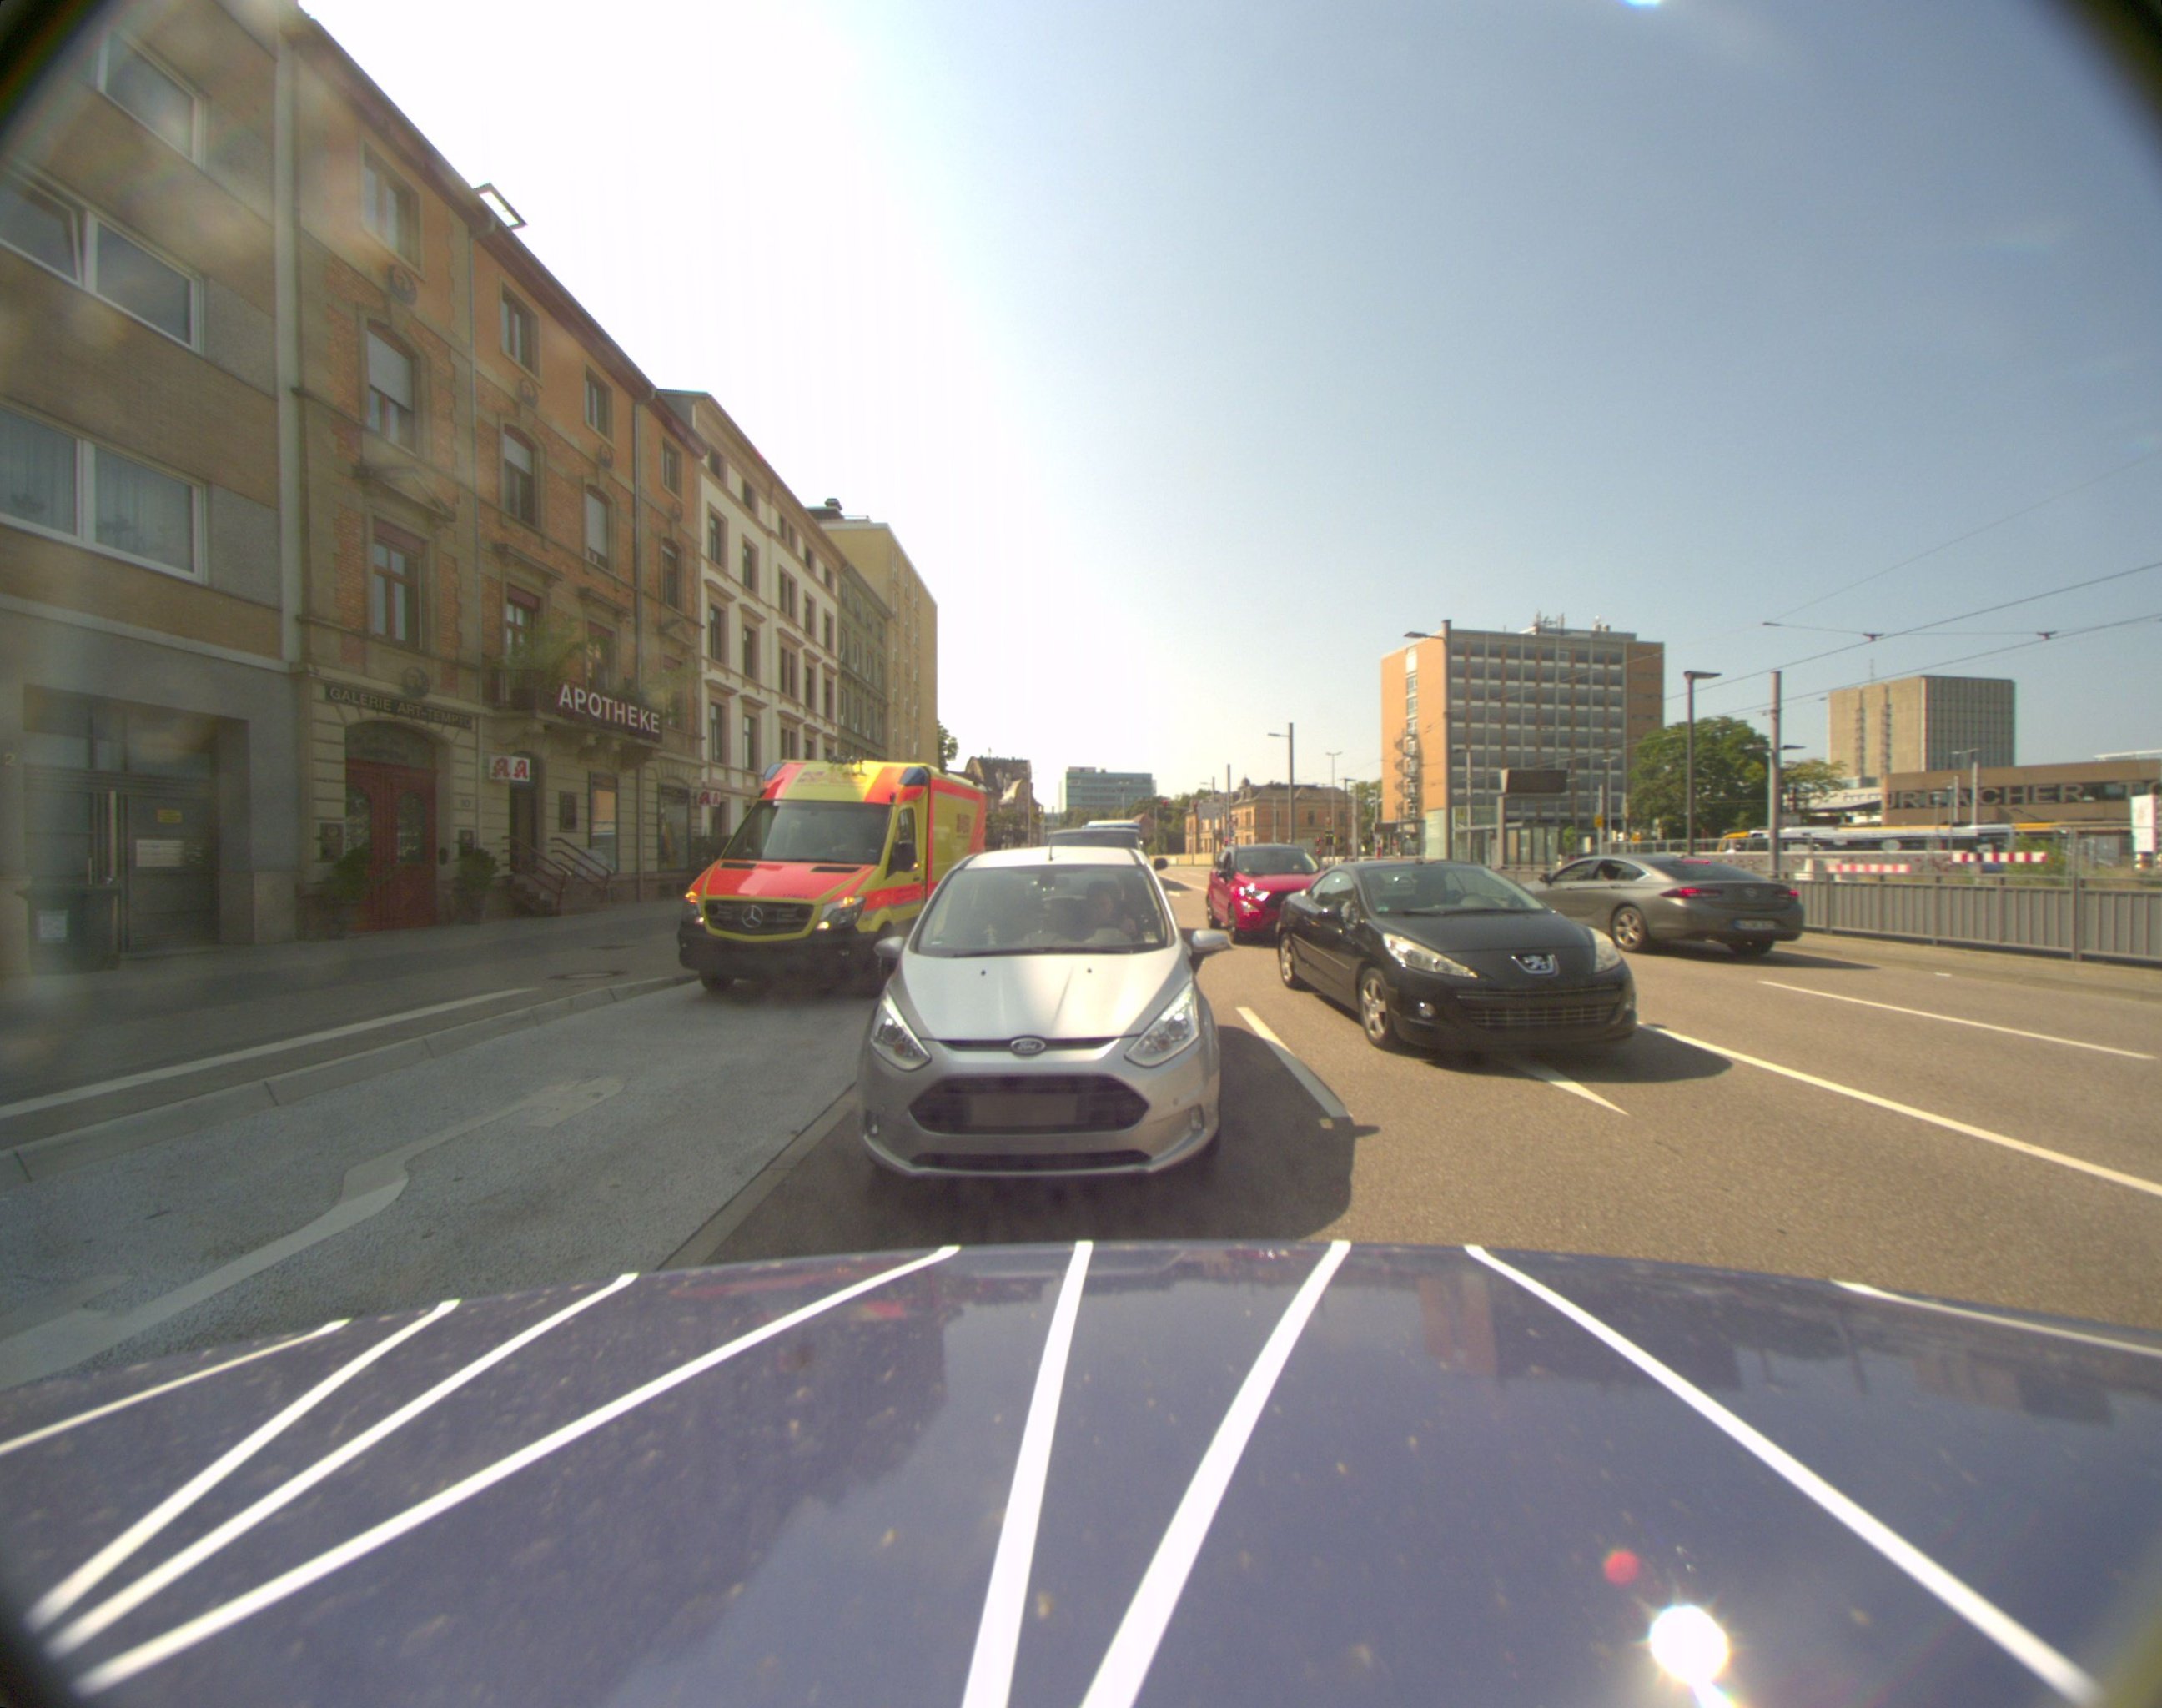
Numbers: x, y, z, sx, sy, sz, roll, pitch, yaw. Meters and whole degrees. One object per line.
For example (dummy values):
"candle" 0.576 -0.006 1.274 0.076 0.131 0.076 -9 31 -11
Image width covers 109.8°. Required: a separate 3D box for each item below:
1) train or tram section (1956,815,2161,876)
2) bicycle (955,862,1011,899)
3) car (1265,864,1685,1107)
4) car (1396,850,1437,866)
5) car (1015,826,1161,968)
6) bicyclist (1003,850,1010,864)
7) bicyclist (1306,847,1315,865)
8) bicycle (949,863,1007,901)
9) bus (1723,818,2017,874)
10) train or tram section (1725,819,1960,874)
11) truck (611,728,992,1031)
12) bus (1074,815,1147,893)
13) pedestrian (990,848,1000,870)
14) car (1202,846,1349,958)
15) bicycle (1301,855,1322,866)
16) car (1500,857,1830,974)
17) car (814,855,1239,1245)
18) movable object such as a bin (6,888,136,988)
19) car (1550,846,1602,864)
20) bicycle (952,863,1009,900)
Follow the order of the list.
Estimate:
"train or tram section" 65.382 -0.508 48.542 2.004 3.743 12.331 -1 0 -45
"bicycle" -3.386 0.912 26.228 1.841 1.212 0.434 -2 1 1
"car" 2.909 0.842 6.616 1.692 1.405 3.801 -2 0 1
"car" 37.274 0.422 84.583 3.874 1.575 1.690 -2 0 13
"car" 0.151 0.597 13.135 1.998 1.953 4.816 -1 0 1
"bicyclist" -8.430 0.359 86.057 0.721 1.577 1.103 -1 0 2
"bicyclist" 25.283 0.199 83.695 0.857 1.891 0.664 -2 1 21
"bicycle" -3.425 0.933 25.331 1.841 1.196 0.434 -2 1 1
"bus" 52.352 -0.416 51.328 3.357 3.275 13.371 -3 0 -45
"train or tram section" 56.693 -0.512 57.264 2.004 3.743 12.331 -1 0 -45
"truck" -3.001 0.206 10.236 2.333 2.754 6.340 2 1 4
"bus" 1.602 -0.019 37.527 2.919 3.119 12.347 -2 0 4
"pedestrian" -6.323 0.369 55.758 0.645 1.619 0.796 1 1 0
"car" 3.188 0.696 13.209 1.634 1.611 3.968 -2 0 2
"bicycle" 25.392 0.696 83.659 2.182 1.095 0.664 -2 1 21
"car" 8.702 0.791 11.981 1.750 1.427 4.573 1 0 2
"car" -0.180 0.823 5.151 1.728 1.579 4.000 -1 0 1
"movable object such as a bin" -11.972 0.974 9.033 0.648 1.098 0.727 1 0 -24
"car" 53.035 0.073 81.450 4.279 1.722 1.885 -2 0 13
"bicycle" -3.399 0.927 25.767 1.841 1.196 0.434 -2 1 1
